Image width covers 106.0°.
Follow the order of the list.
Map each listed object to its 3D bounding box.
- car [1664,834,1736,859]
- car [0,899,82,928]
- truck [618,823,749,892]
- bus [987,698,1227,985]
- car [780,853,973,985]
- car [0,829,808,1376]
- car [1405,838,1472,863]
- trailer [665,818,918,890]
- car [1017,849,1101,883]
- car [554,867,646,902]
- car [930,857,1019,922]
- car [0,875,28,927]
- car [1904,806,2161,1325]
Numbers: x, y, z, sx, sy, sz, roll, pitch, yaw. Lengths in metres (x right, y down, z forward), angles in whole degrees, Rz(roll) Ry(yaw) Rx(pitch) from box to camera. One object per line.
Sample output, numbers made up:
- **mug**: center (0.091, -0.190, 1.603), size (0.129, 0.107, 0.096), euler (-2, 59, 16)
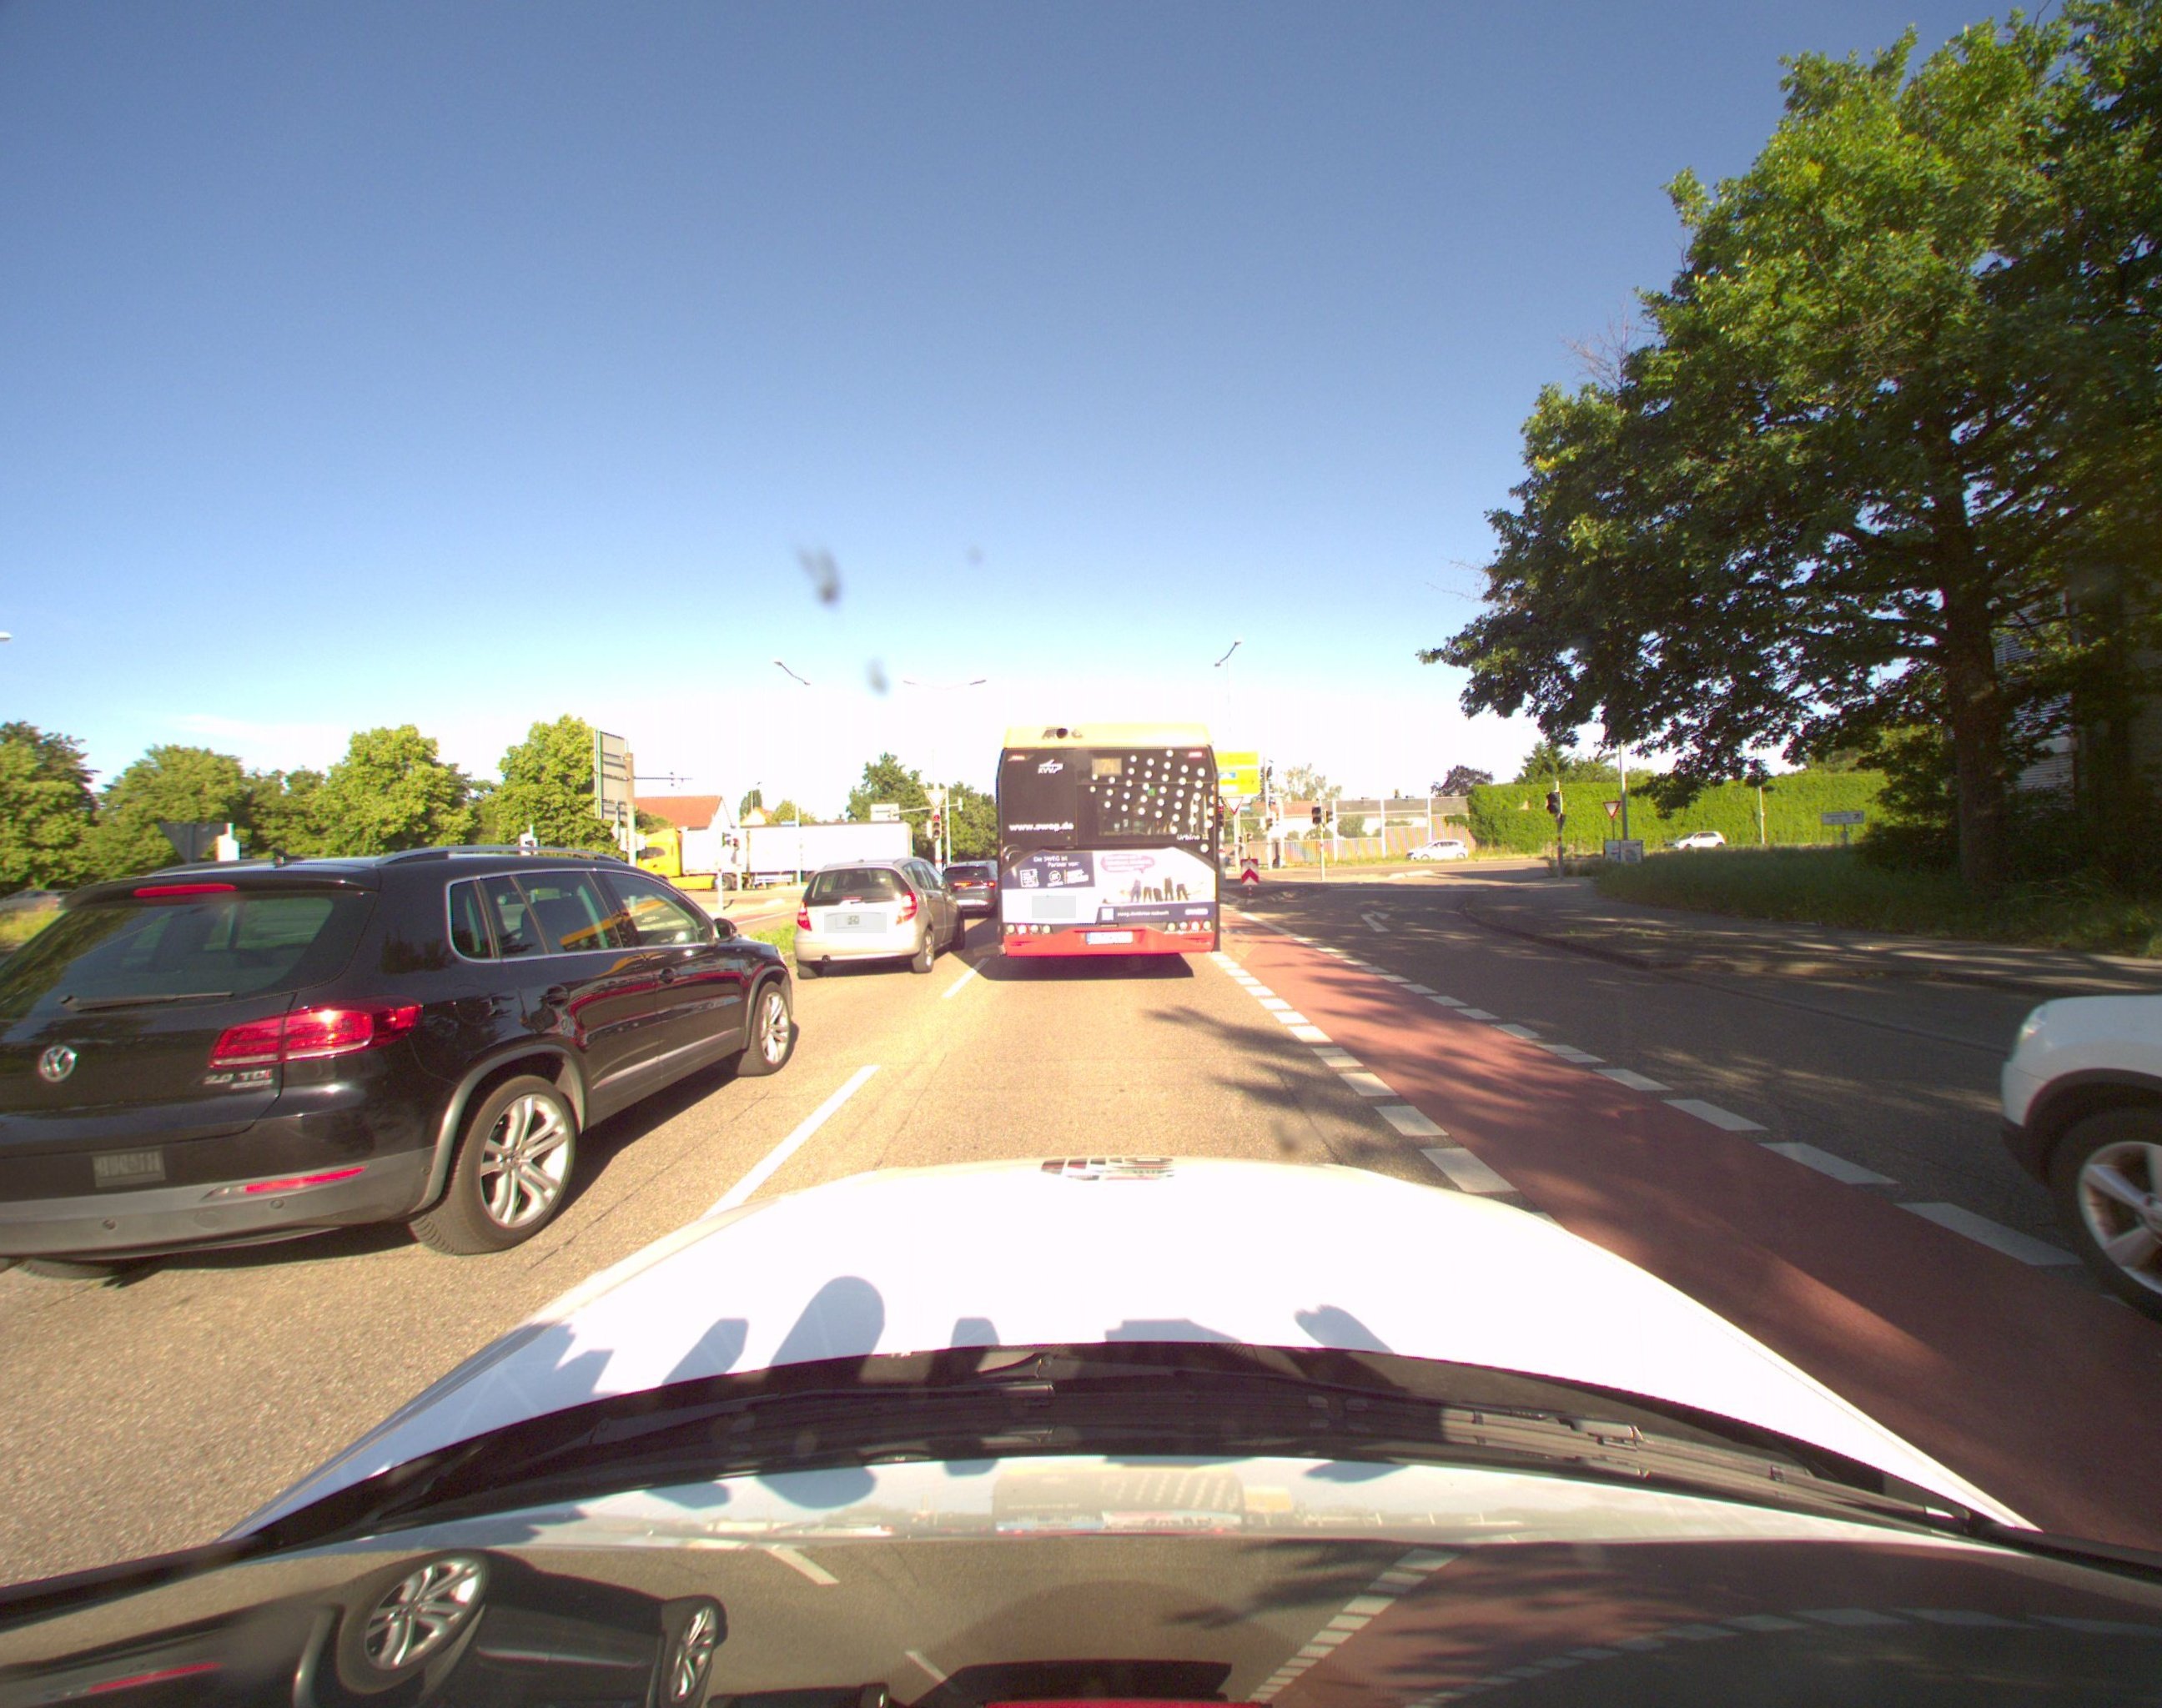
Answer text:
- **car**: center (45.627, -0.519, 60.058), size (3.979, 1.816, 1.920), euler (0, -1, -4)
- **car**: center (-59.735, 3.379, 46.197), size (3.588, 1.459, 1.569), euler (-2, 0, -14)
- **truck**: center (-24.834, 0.192, 51.169), size (6.464, 4.013, 3.435), euler (-2, 0, -5)
- **bus**: center (0.524, -0.163, 15.024), size (2.632, 3.167, 11.867), euler (-1, 0, 2)
- **car**: center (-2.874, 0.826, 12.386), size (1.755, 1.589, 4.001), euler (-3, 0, 1)
- **car**: center (-3.170, 0.801, 4.560), size (1.766, 1.653, 4.001), euler (-3, 0, 1)
- **car**: center (24.082, -0.217, 54.928), size (3.800, 1.612, 1.704), euler (0, -1, -5)
- **trailer**: center (-18.051, -0.017, 51.744), size (14.629, 4.013, 3.435), euler (-2, 0, -5)
- **car**: center (-1.200, 0.613, 43.283), size (4.077, 1.526, 1.758), euler (-3, 0, -17)
- **car**: center (-24.571, 1.541, 41.678), size (3.577, 1.560, 1.747), euler (-2, 0, -5)
- **car**: center (-2.688, 0.859, 21.320), size (1.686, 1.458, 3.751), euler (-3, 0, 1)
- **car**: center (-46.793, 1.974, 32.852), size (5.375, 2.118, 2.178), euler (-1, -1, -4)
- **car**: center (4.050, 0.646, 1.277), size (1.708, 1.607, 4.075), euler (-1, 0, 7)
